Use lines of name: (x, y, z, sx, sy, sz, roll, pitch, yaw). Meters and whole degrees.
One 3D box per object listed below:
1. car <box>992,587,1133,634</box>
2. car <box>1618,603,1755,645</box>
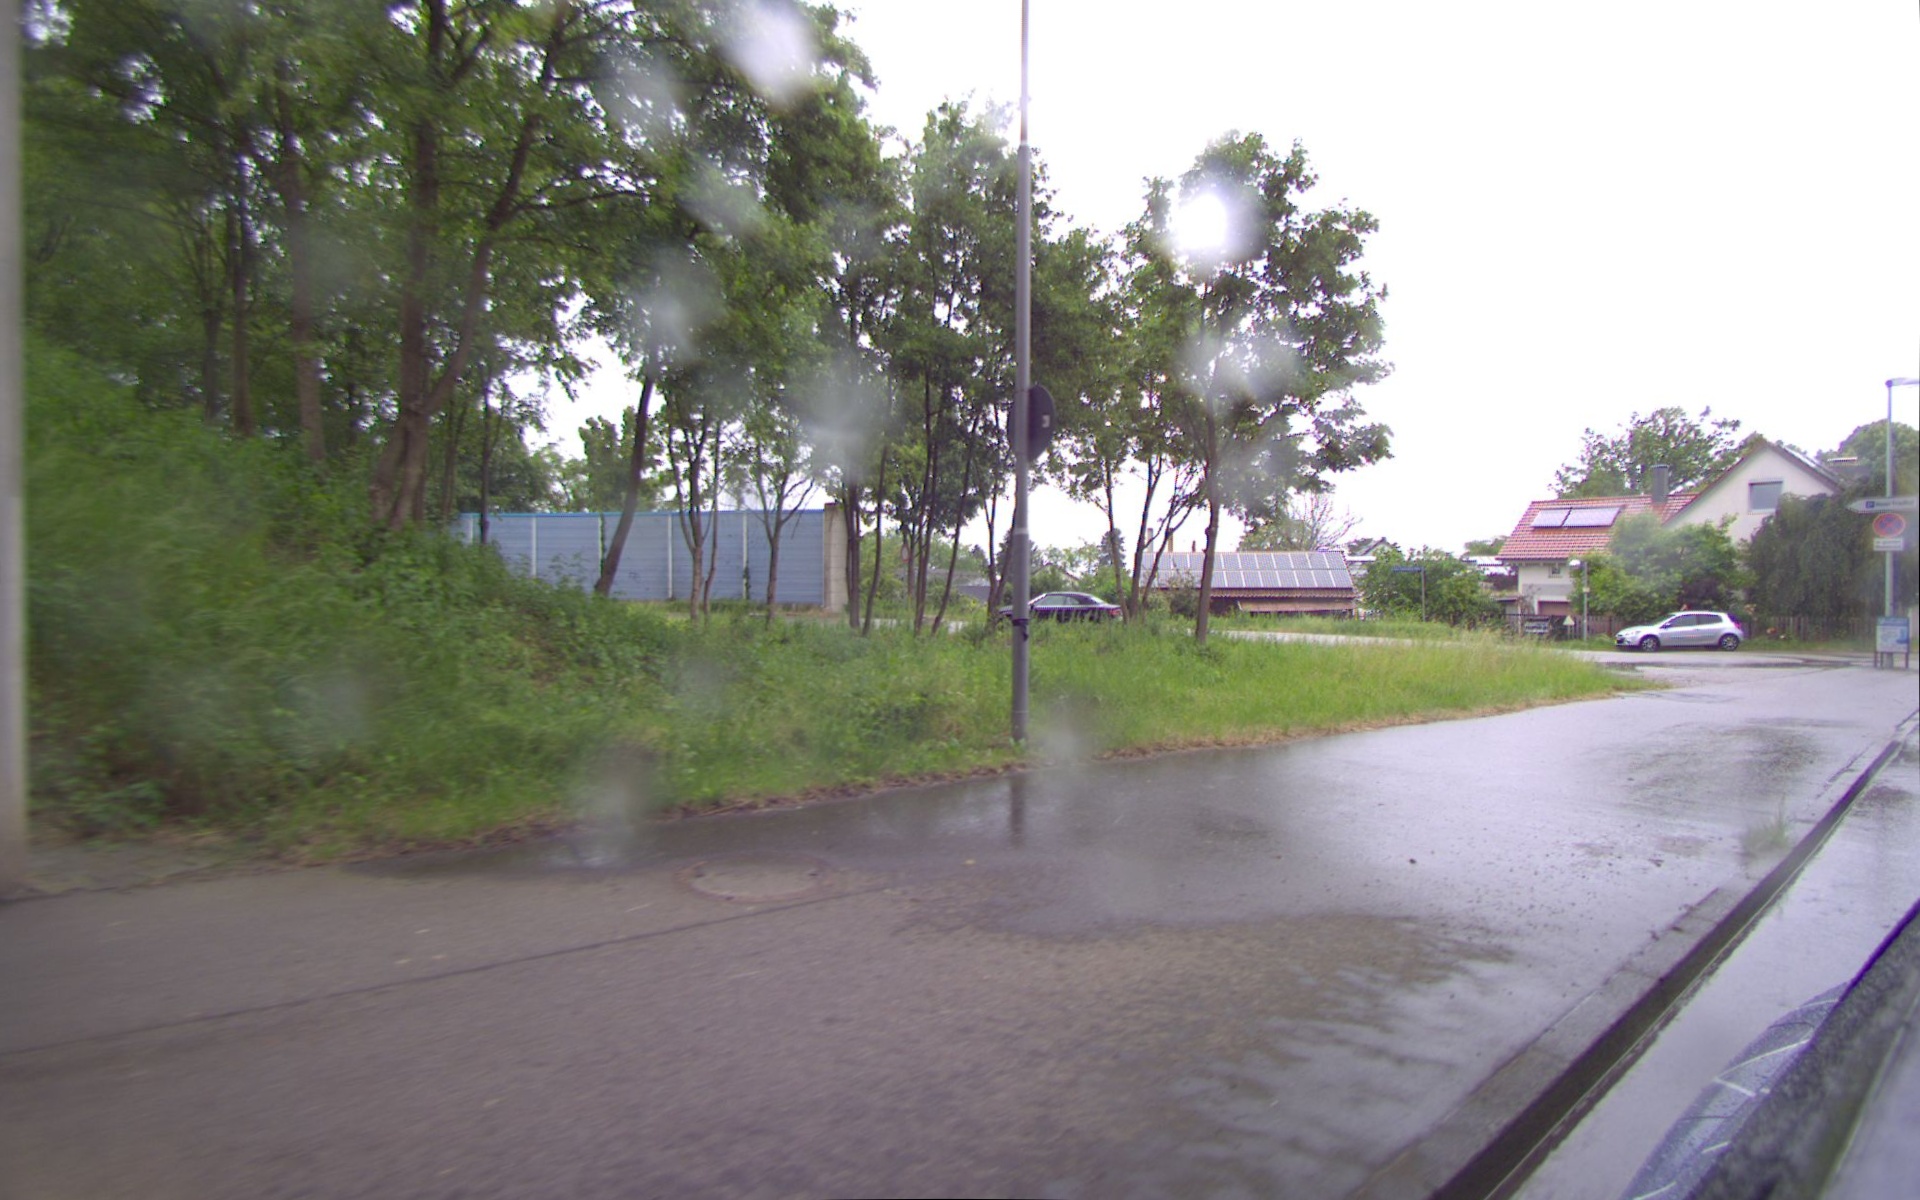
car: (3.190, 0.339, 31.271, 4.053, 1.376, 1.895, -1, -1, 16)
car: (27.452, 0.910, 38.357, 3.805, 1.551, 1.709, -1, -1, 18)
